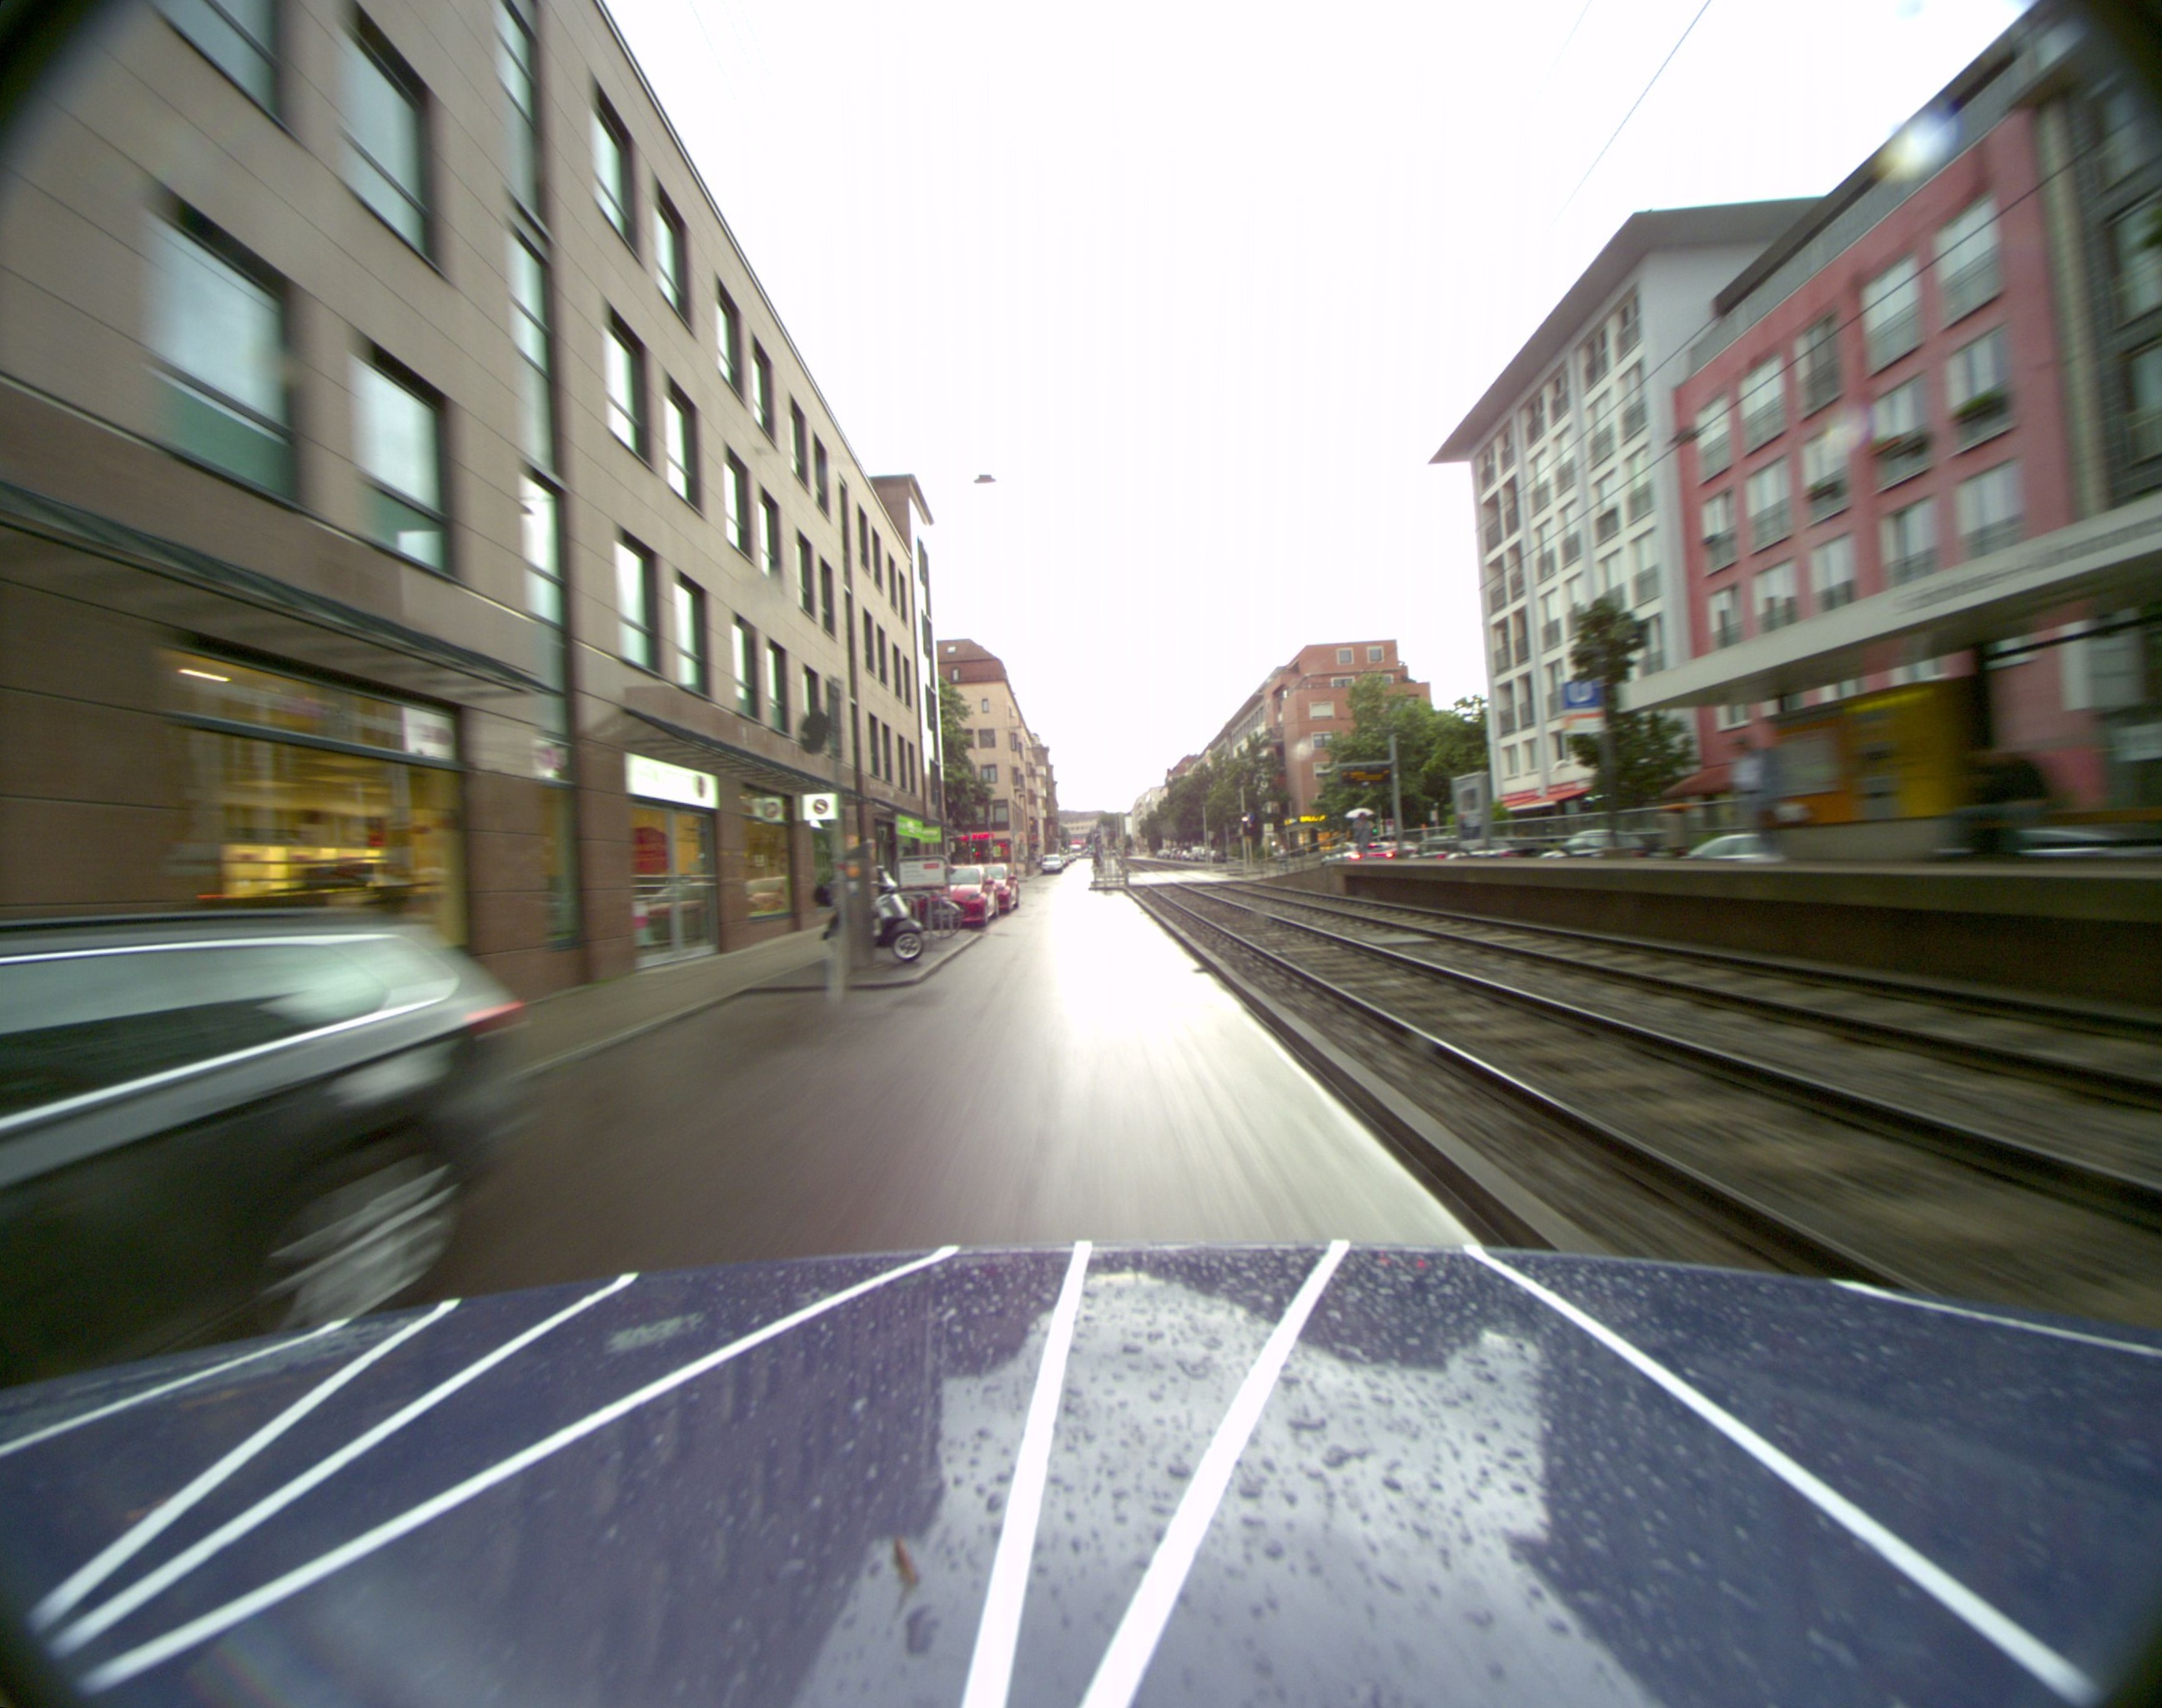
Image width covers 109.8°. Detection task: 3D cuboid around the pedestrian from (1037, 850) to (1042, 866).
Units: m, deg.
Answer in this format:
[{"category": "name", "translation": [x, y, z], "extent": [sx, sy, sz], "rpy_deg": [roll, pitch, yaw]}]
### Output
[{"category": "pedestrian", "translation": [-4.944, 0.493, 90.074], "extent": [0.530, 1.848, 0.556], "rpy_deg": [-3, 1, -7]}]

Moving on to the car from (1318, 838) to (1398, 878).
[{"category": "car", "translation": [12.314, 0.149, 34.103], "extent": [1.811, 1.569, 5.021], "rpy_deg": [-3, 0, 1]}]

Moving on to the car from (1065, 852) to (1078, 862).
[{"category": "car", "translation": [-1.371, 0.441, 112.775], "extent": [1.720, 1.454, 3.444], "rpy_deg": [-3, 1, 1]}]

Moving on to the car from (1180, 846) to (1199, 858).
[{"category": "car", "translation": [15.065, -0.309, 105.721], "extent": [1.696, 1.454, 4.529], "rpy_deg": [-3, 1, -2]}]

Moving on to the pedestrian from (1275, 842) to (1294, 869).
[{"category": "pedestrian", "translation": [13.356, 0.086, 49.908], "extent": [0.821, 1.687, 0.985], "rpy_deg": [-4, 1, -7]}]

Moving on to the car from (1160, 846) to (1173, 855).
[{"category": "car", "translation": [15.398, -0.635, 136.605], "extent": [1.662, 1.575, 4.337], "rpy_deg": [-3, 1, -1]}]

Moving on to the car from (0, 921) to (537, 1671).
[{"category": "car", "translation": [-3.218, 1.063, 0.960], "extent": [1.779, 1.460, 4.608], "rpy_deg": [-3, 0, -2]}]

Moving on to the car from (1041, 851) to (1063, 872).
[{"category": "car", "translation": [-2.724, 0.704, 72.555], "extent": [1.911, 1.796, 4.776], "rpy_deg": [-3, 1, -1]}]

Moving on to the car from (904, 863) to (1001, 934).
[{"category": "car", "translation": [-3.043, 0.997, 18.722], "extent": [1.703, 1.454, 3.866], "rpy_deg": [-1, 1, 0]}]

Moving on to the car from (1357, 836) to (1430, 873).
[{"category": "car", "translation": [15.049, 0.023, 36.892], "extent": [1.730, 1.602, 4.553], "rpy_deg": [-3, 0, 2]}]

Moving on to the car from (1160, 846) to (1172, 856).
[{"category": "car", "translation": [14.633, -0.519, 130.412], "extent": [1.642, 1.529, 4.022], "rpy_deg": [-3, 1, 1]}]

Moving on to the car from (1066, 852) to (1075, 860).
[{"category": "car", "translation": [-1.885, 0.289, 139.493], "extent": [1.628, 1.343, 3.828], "rpy_deg": [-3, 1, -1]}]

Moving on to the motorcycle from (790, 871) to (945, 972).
[{"category": "motorcycle", "translation": [-3.208, 0.999, 11.443], "extent": [2.086, 1.399, 0.800], "rpy_deg": [-2, 1, 19]}]

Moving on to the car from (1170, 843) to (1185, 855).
[{"category": "car", "translation": [15.109, -0.847, 119.448], "extent": [1.678, 1.807, 4.431], "rpy_deg": [-3, 1, 0]}]

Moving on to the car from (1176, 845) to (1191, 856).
[{"category": "car", "translation": [15.368, -0.531, 113.738], "extent": [1.643, 1.530, 3.803], "rpy_deg": [-3, 1, -1]}]

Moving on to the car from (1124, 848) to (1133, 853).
[{"category": "car", "translation": [12.742, -0.972, 204.165], "extent": [1.696, 1.454, 4.529], "rpy_deg": [-3, 1, -2]}]

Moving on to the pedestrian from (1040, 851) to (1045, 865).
[{"category": "pedestrian", "translation": [-4.616, 0.518, 90.964], "extent": [0.546, 1.671, 0.595], "rpy_deg": [-3, 1, -7]}]

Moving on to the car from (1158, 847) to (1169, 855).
[{"category": "car", "translation": [15.401, -0.599, 142.545], "extent": [1.718, 1.367, 4.457], "rpy_deg": [-3, 1, 2]}]

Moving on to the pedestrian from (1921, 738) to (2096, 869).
[{"category": "pedestrian", "translation": [9.508, -0.489, 7.832], "extent": [0.694, 1.242, 0.884], "rpy_deg": [-3, 1, -1]}]

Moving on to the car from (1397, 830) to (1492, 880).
[{"category": "car", "translation": [14.954, 0.021, 31.541], "extent": [1.712, 1.847, 4.320], "rpy_deg": [-3, 0, -2]}]

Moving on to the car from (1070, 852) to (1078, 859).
[{"category": "car", "translation": [-1.493, 0.332, 156.558], "extent": [1.588, 1.343, 3.977], "rpy_deg": [-3, 1, -1]}]

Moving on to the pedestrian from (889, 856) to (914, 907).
[{"category": "pedestrian", "translation": [-6.002, 0.905, 25.459], "extent": [0.603, 1.650, 0.625], "rpy_deg": [-2, 1, 1]}]

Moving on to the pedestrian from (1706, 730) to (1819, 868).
[{"category": "pedestrian", "translation": [8.901, -0.688, 9.960], "extent": [0.657, 1.701, 0.850], "rpy_deg": [-3, 1, -1]}]

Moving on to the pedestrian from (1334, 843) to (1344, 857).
[{"category": "pedestrian", "translation": [22.590, -0.362, 66.453], "extent": [0.677, 1.171, 0.608], "rpy_deg": [-2, 1, 6]}]

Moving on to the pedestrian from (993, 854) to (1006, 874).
[{"category": "pedestrian", "translation": [-6.700, 0.818, 62.480], "extent": [0.723, 1.640, 0.627], "rpy_deg": [-1, 2, 41]}]

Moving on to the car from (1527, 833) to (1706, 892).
[{"category": "car", "translation": [14.840, 0.212, 21.404], "extent": [1.846, 1.428, 4.318], "rpy_deg": [-3, 0, -2]}]

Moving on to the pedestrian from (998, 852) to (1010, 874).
[{"category": "pedestrian", "translation": [-6.414, 0.738, 63.131], "extent": [0.665, 1.809, 0.597], "rpy_deg": [-1, 2, 41]}]

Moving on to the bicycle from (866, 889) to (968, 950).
[{"category": "bicycle", "translation": [-3.080, 1.228, 14.335], "extent": [1.791, 1.025, 0.462], "rpy_deg": [-2, 1, 0]}]

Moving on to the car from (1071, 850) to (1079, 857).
[{"category": "car", "translation": [-1.288, -0.031, 171.235], "extent": [1.588, 1.443, 3.977], "rpy_deg": [-3, 1, 0]}]

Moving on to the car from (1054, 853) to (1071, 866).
[{"category": "car", "translation": [-2.338, 0.723, 96.610], "extent": [1.911, 1.454, 4.244], "rpy_deg": [-3, 1, 0]}]

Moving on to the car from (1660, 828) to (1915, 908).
[{"category": "car", "translation": [14.628, 0.256, 16.082], "extent": [1.572, 1.428, 3.978], "rpy_deg": [-3, 0, -2]}]

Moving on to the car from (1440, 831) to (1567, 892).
[{"category": "car", "translation": [14.441, 0.225, 26.320], "extent": [1.807, 1.847, 4.379], "rpy_deg": [-3, 0, -2]}]

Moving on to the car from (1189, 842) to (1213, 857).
[{"category": "car", "translation": [15.195, -0.582, 96.595], "extent": [1.912, 1.834, 5.255], "rpy_deg": [-3, 1, -3]}]

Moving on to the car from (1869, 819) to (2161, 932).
[{"category": "car", "translation": [14.715, 0.254, 11.334], "extent": [1.678, 1.428, 3.978], "rpy_deg": [-3, 0, -2]}]

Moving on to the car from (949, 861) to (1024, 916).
[{"category": "car", "translation": [-2.835, 1.007, 23.644], "extent": [1.702, 1.471, 3.867], "rpy_deg": [-1, 1, 2]}]

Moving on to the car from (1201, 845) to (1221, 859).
[{"category": "car", "translation": [15.403, -0.299, 90.495], "extent": [1.642, 1.527, 4.370], "rpy_deg": [-3, 1, 1]}]

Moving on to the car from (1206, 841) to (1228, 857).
[{"category": "car", "translation": [15.059, -0.557, 84.299], "extent": [1.642, 1.614, 4.370], "rpy_deg": [-3, 1, 1]}]

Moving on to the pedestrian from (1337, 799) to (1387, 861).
[{"category": "pedestrian", "translation": [9.515, -0.814, 25.806], "extent": [1.119, 2.002, 1.383], "rpy_deg": [-2, 1, 1]}]

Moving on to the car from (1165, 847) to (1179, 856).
[{"category": "car", "translation": [14.936, -0.454, 124.954], "extent": [1.643, 1.432, 4.729], "rpy_deg": [-3, 1, 0]}]
